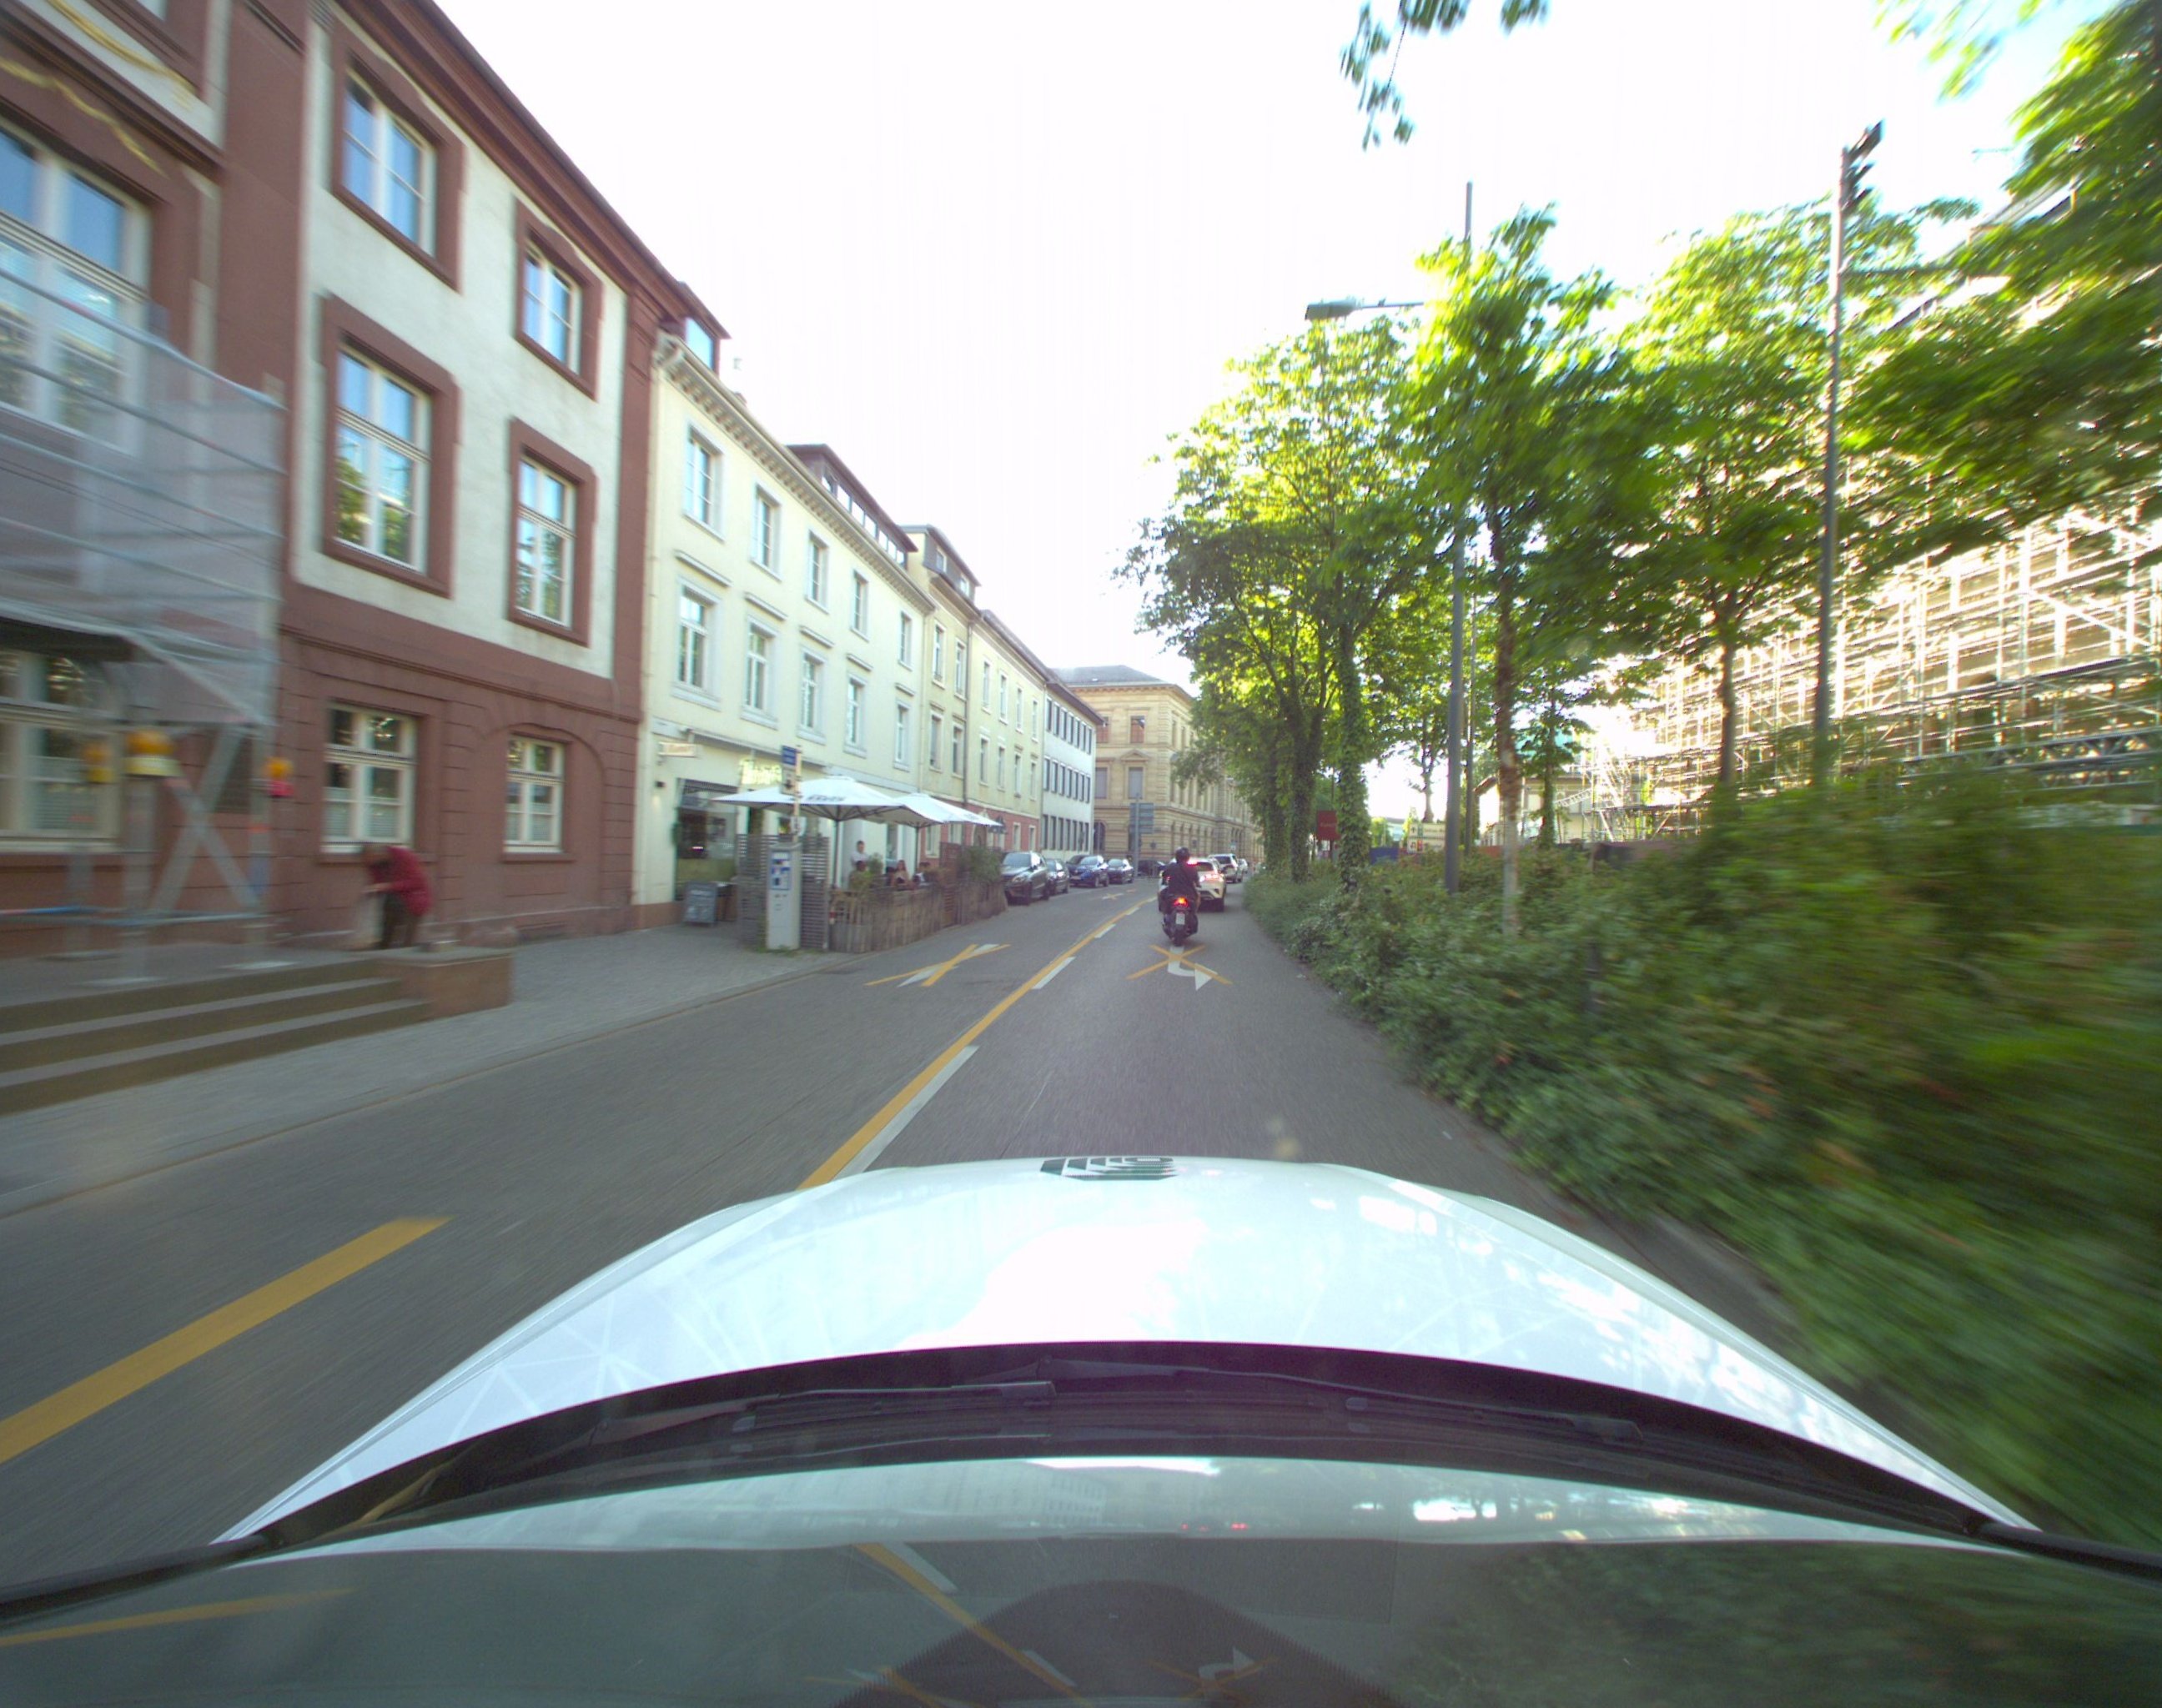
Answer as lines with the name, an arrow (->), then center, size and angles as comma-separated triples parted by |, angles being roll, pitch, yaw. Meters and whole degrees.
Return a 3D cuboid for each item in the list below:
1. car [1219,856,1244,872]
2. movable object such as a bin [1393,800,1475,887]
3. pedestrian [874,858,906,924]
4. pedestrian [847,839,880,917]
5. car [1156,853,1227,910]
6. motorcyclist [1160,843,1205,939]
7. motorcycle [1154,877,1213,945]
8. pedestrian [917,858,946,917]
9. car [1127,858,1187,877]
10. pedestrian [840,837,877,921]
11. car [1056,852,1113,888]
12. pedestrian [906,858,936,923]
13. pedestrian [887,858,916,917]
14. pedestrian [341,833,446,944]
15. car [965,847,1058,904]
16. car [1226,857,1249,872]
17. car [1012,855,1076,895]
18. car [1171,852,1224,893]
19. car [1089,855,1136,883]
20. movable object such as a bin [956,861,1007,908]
car -> 15.134, 1.019, 81.862 | 1.978, 1.567, 4.308 | 0, 0, 17
movable object such as a bin -> 20.181, -0.557, 47.014 | 3.282, 4.539, 7.937 | 1, 0, 16
pedestrian -> -4.142, 0.799, 17.662 | 0.521, 1.391, 0.489 | 1, 0, 4
pedestrian -> -5.080, 0.548, 19.014 | 0.434, 1.775, 0.600 | 1, 0, 20
car -> 3.265, 0.725, 23.740 | 1.840, 1.480, 4.067 | 1, 0, 9
motorcyclist -> 1.811, 0.648, 14.581 | 0.655, 1.650, 0.650 | 2, 0, -1
motorcycle -> 1.796, 0.978, 14.482 | 0.794, 1.066, 1.725 | 2, 0, 0
pedestrian -> -3.595, 0.807, 19.613 | 0.521, 1.391, 0.489 | 1, 0, 4
car -> 5.831, 0.997, 62.394 | 4.276, 1.390, 1.785 | 0, 0, 22
pedestrian -> -4.830, 0.538, 17.708 | 0.591, 1.775, 0.441 | 1, 0, 16
car -> 0.241, 0.753, 40.841 | 1.920, 1.667, 4.363 | 1, 0, 13
pedestrian -> -3.593, 0.802, 18.306 | 0.467, 1.433, 0.504 | 2, 0, 12
pedestrian -> -4.326, 0.791, 19.628 | 0.521, 1.391, 0.489 | 1, 0, 4
pedestrian -> -6.886, 0.334, 8.177 | 0.534, 1.053, 0.552 | 2, 0, 3
car -> -2.196, 0.655, 27.107 | 1.910, 1.679, 4.798 | 1, 0, 10
car -> 16.384, 1.072, 85.090 | 1.978, 1.528, 4.203 | 0, 0, 17
car -> -1.416, 0.787, 32.778 | 1.643, 1.480, 4.440 | 1, 0, 10
car -> 4.733, 0.710, 32.713 | 1.828, 1.463, 4.070 | 2, 0, 11
car -> 1.924, 0.849, 47.631 | 1.811, 1.503, 4.777 | 2, 0, 13
movable object such as a bin -> -2.875, 0.861, 23.590 | 1.208, 1.295, 0.933 | 1, 0, 12
